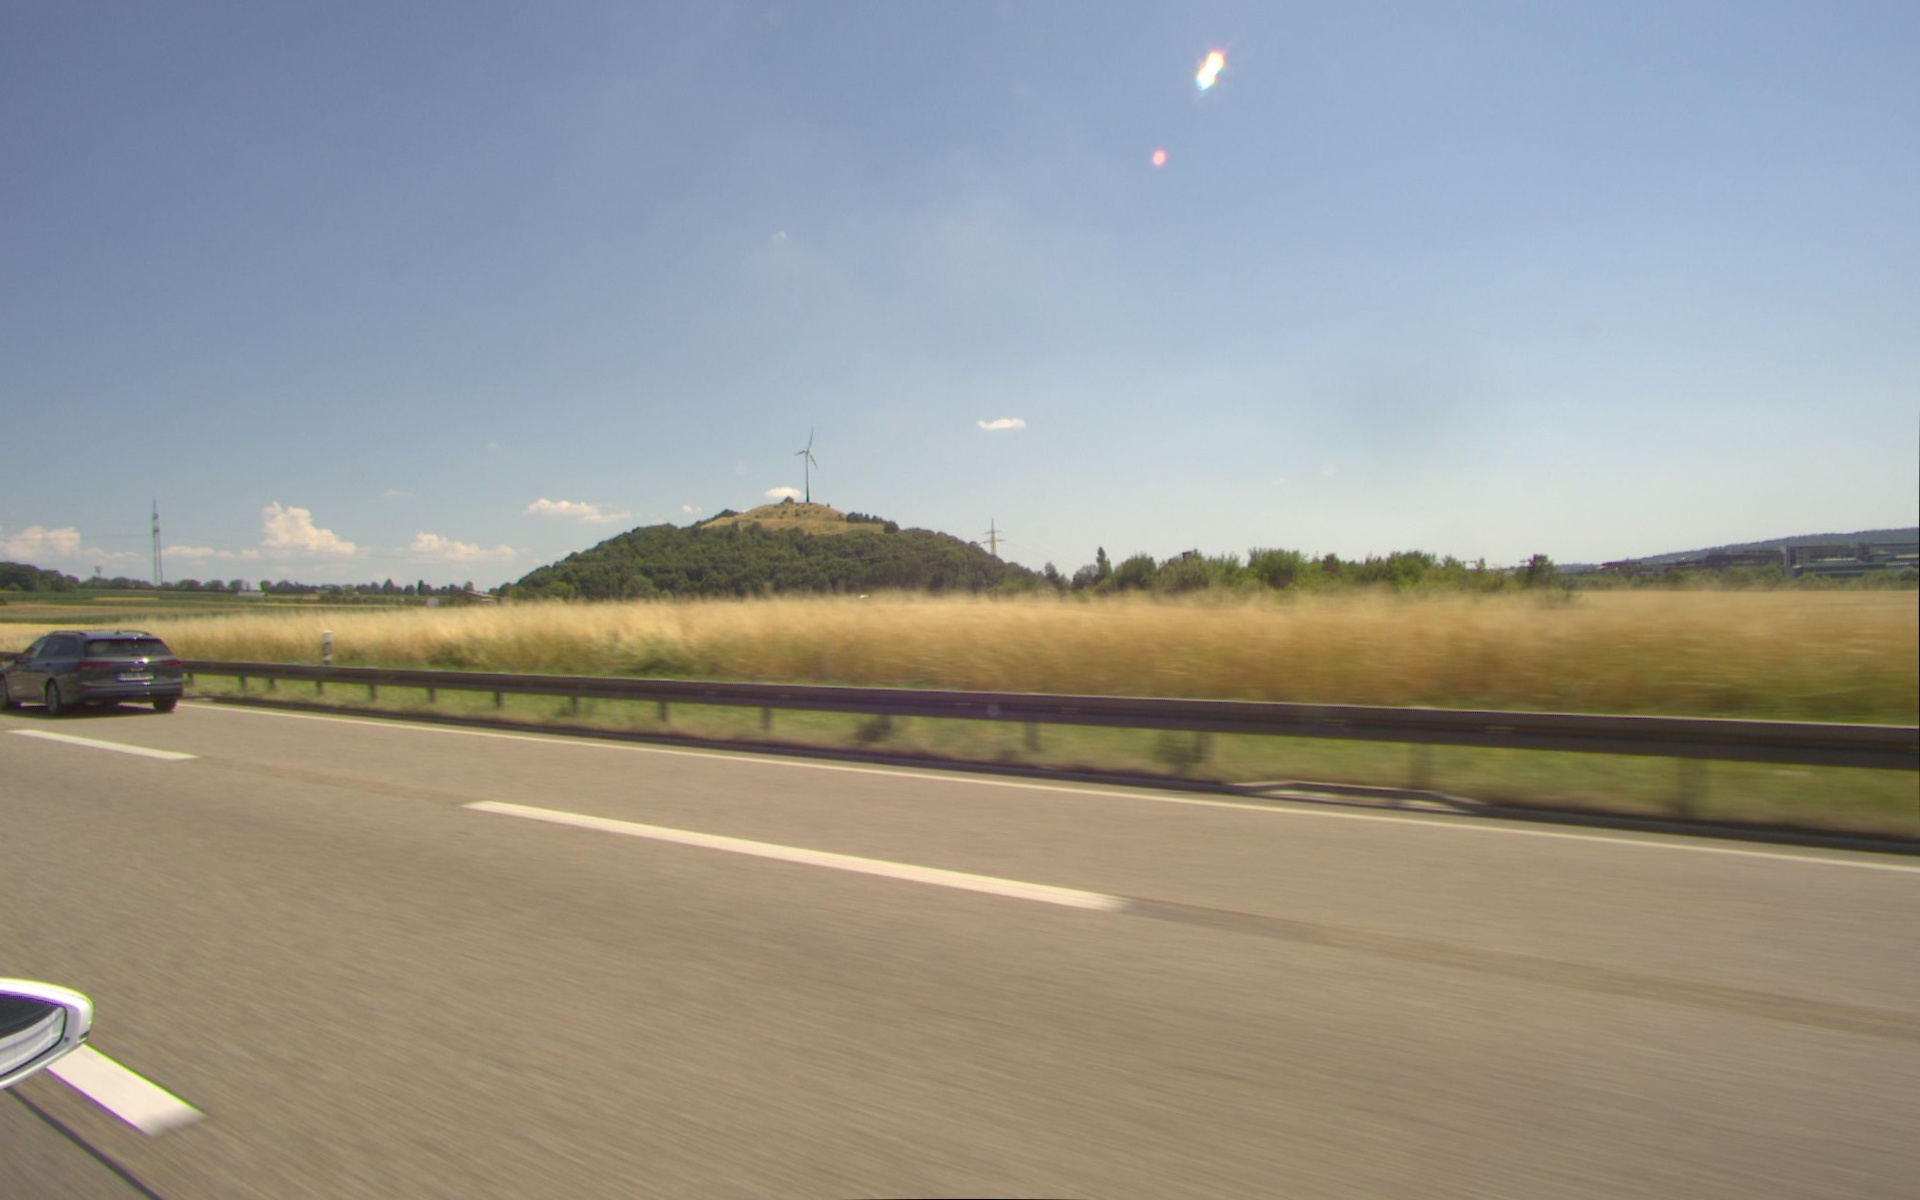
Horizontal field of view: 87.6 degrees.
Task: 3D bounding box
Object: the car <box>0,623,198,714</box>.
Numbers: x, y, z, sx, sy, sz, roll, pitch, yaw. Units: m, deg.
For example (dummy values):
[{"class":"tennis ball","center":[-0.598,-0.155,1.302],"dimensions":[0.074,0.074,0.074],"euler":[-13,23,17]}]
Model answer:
[{"class":"car","center":[-16.096,1.215,18.556],"dimensions":[4.473,1.489,1.758],"euler":[-2,-2,33]}]
